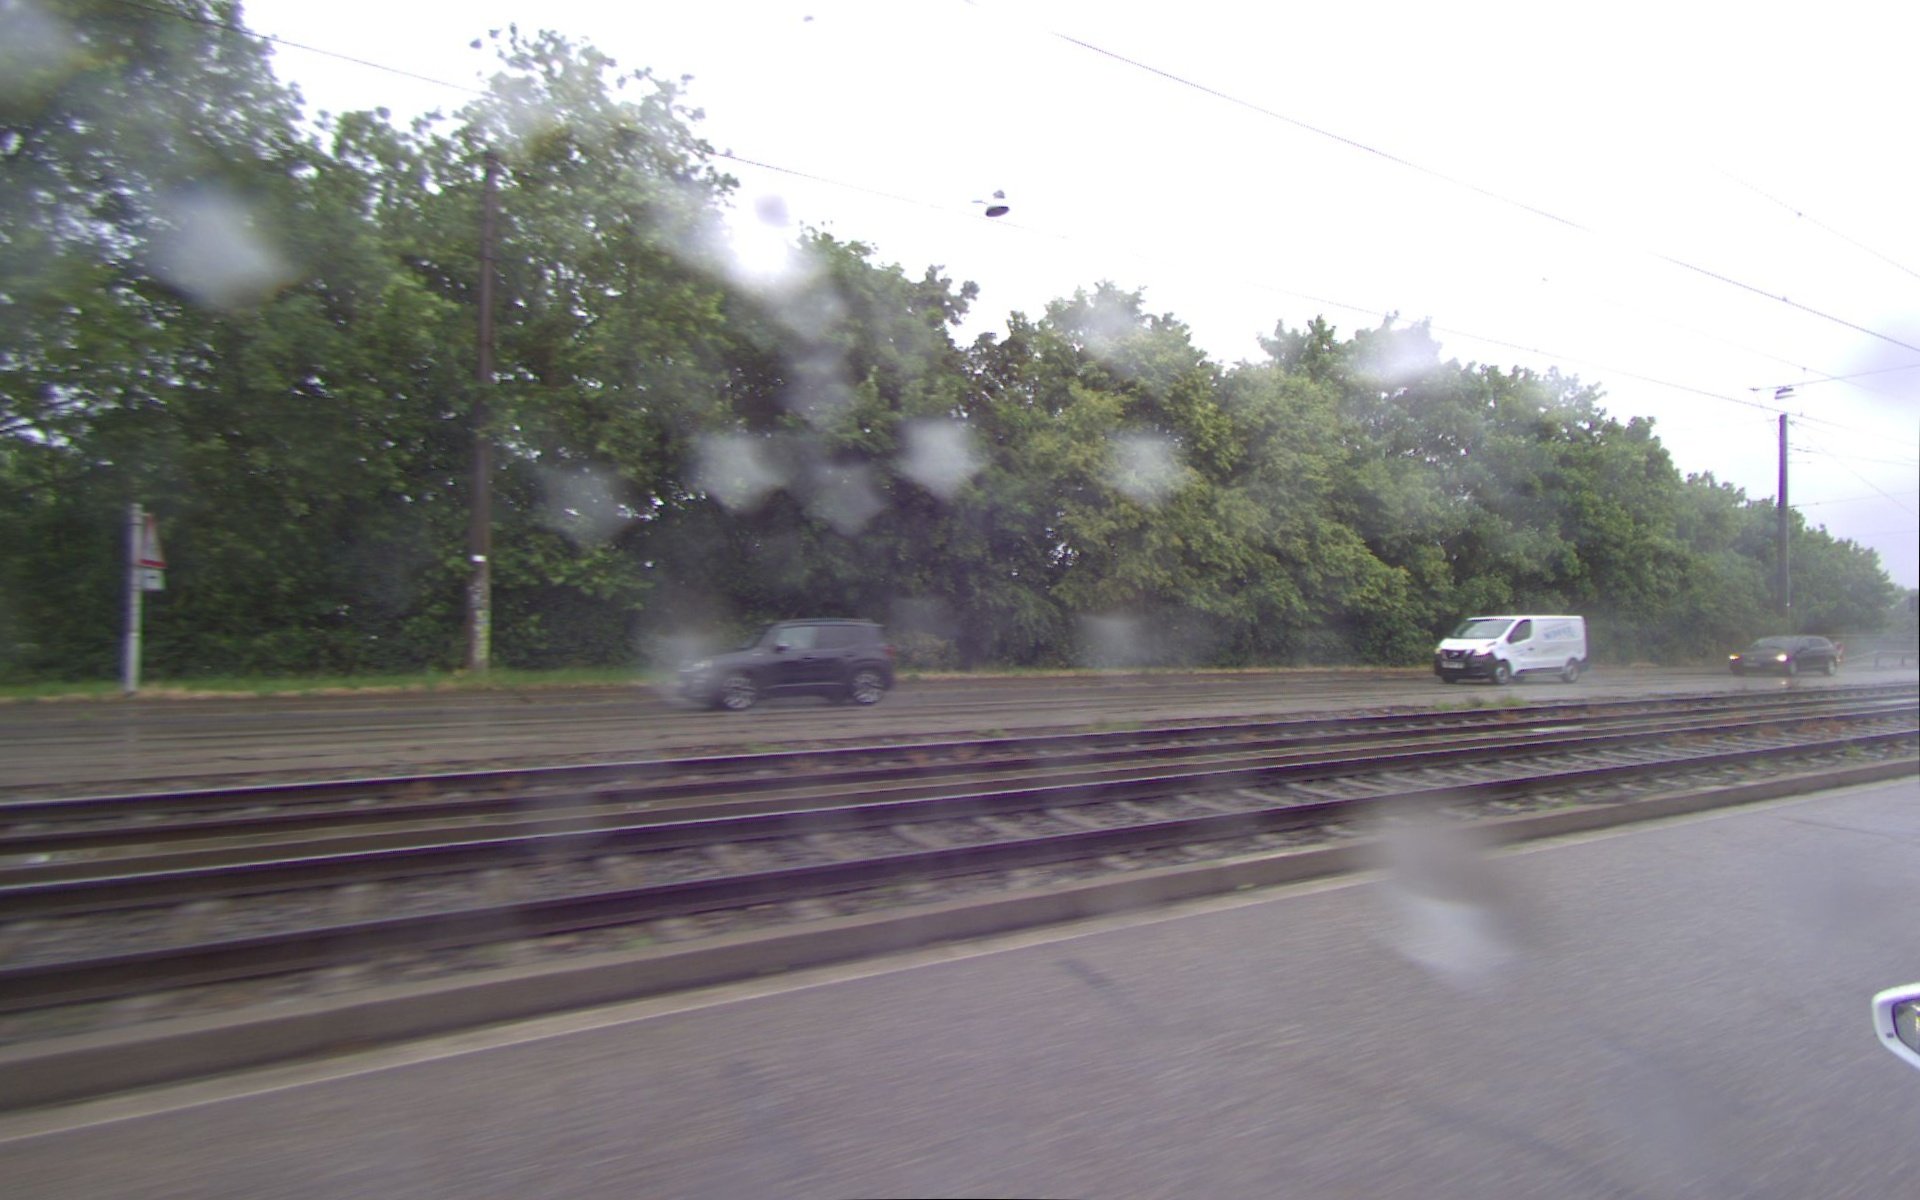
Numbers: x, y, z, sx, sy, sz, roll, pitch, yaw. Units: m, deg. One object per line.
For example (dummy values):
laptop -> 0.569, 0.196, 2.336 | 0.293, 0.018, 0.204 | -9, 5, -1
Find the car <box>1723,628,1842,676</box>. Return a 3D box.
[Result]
car -> 29.859, 1.838, 36.449 | 4.552, 1.539, 1.682 | 0, 1, -27

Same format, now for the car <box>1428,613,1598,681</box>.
car -> 16.170, 1.294, 29.337 | 4.924, 1.799, 2.031 | 0, 1, -29

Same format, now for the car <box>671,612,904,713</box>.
car -> -3.318, 1.123, 19.410 | 4.109, 1.740, 1.834 | 0, 1, -27
